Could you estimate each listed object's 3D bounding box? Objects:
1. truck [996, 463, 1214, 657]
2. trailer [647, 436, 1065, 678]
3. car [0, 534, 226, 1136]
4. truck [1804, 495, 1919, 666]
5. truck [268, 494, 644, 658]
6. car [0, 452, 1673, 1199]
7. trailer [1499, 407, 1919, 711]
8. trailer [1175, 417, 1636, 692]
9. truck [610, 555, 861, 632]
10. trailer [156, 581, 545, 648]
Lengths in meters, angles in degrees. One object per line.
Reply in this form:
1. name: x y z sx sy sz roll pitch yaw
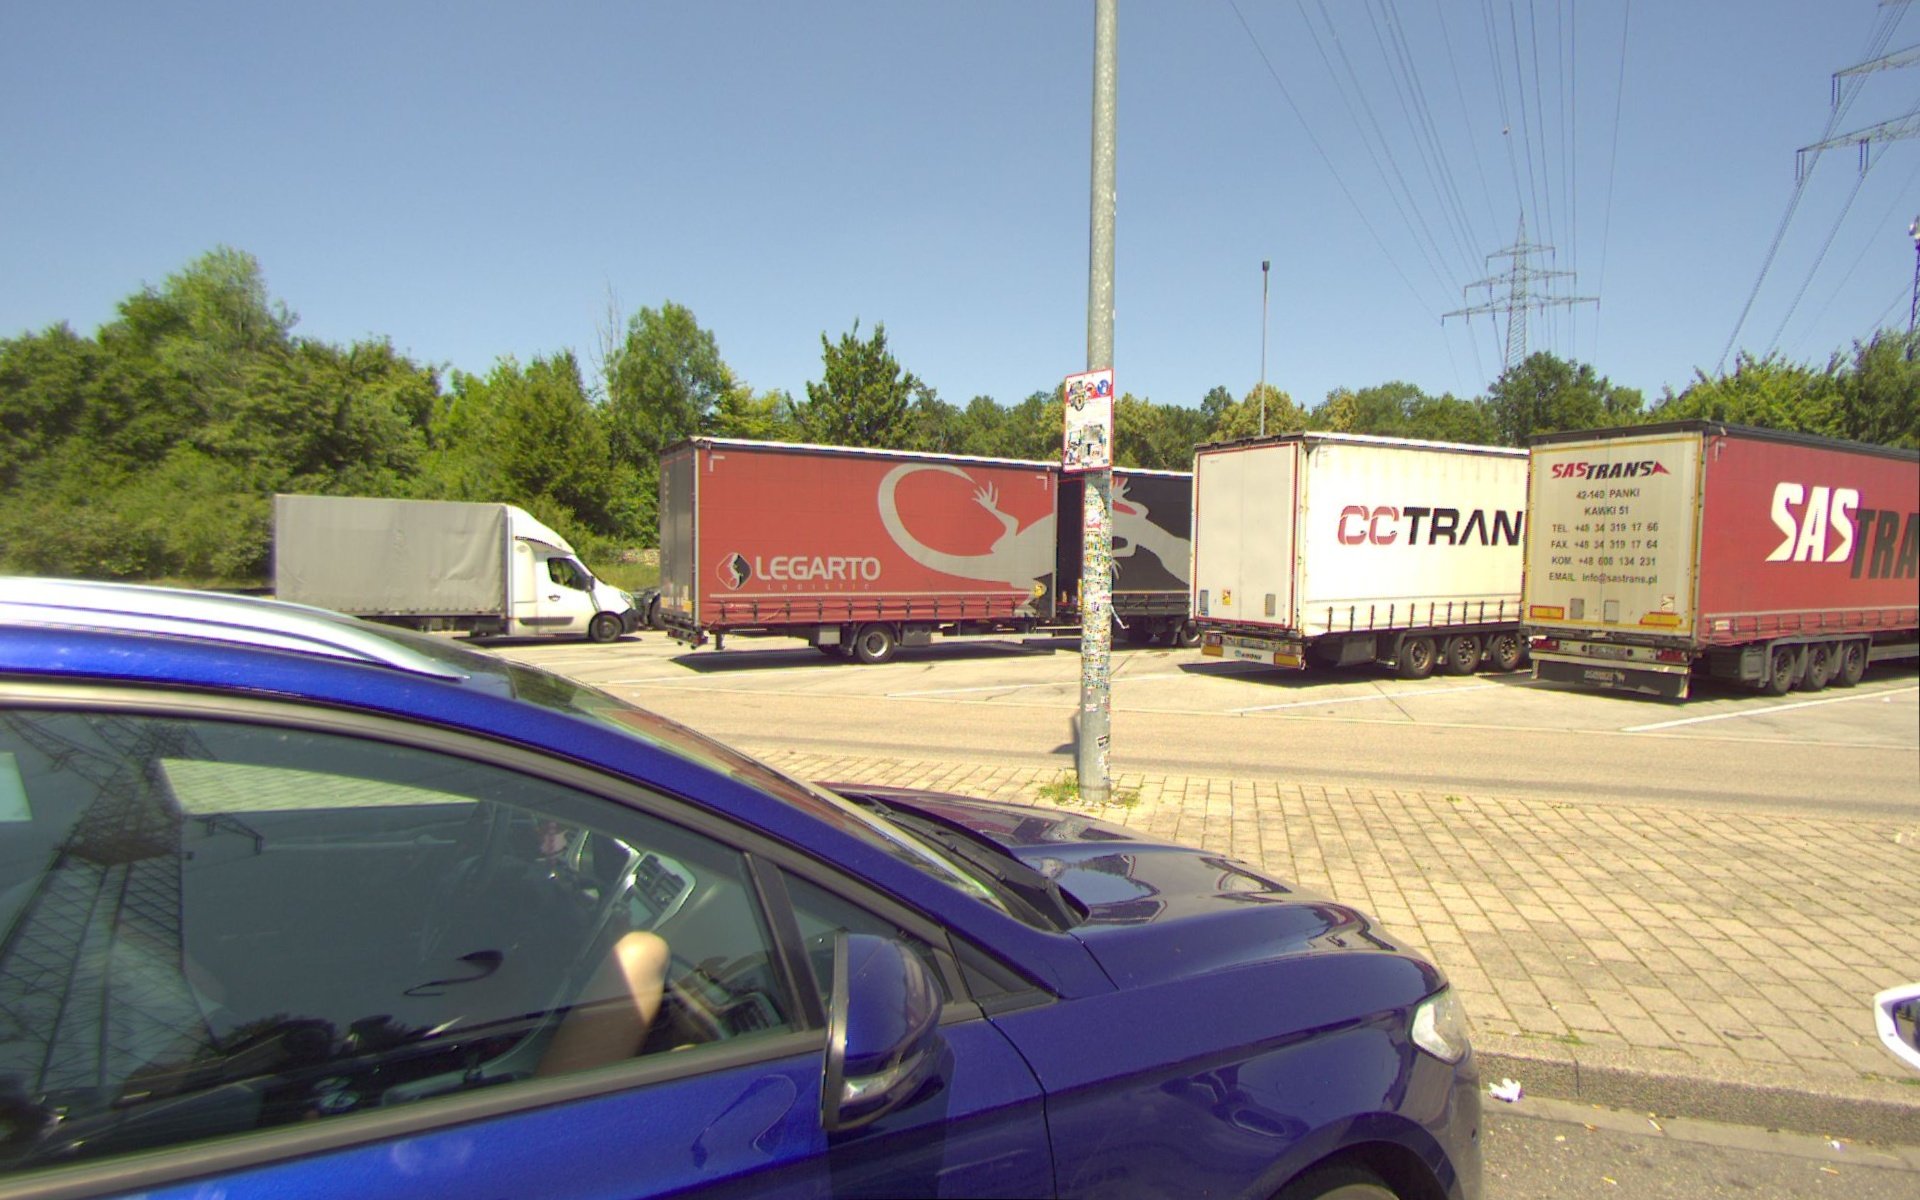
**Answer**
1. truck: 3.352 -0.904 23.348 4.273 4.072 2.689 -1 3 -30
2. trailer: -1.930 -0.830 20.254 7.996 4.101 2.696 -1 3 -30
3. car: -4.558 0.578 2.242 4.592 1.554 1.726 0 1 -33
4. truck: 21.724 -0.433 22.293 5.418 3.475 2.838 -1 3 -30
5. truck: -11.206 -0.572 22.891 7.254 3.254 2.515 -1 3 -30
6. car: -0.985 0.650 1.457 4.592 1.502 1.727 0 0 -33
7. trailer: 15.401 -0.705 18.549 13.559 4.189 2.892 -1 3 -30
8. trailer: 8.862 -0.822 19.314 10.049 4.267 2.714 -1 3 -30
9. truck: -6.486 -0.161 29.513 6.961 2.040 1.984 0 0 -30
10. trailer: -14.834 0.261 25.174 7.996 1.394 2.211 -1 3 -30
